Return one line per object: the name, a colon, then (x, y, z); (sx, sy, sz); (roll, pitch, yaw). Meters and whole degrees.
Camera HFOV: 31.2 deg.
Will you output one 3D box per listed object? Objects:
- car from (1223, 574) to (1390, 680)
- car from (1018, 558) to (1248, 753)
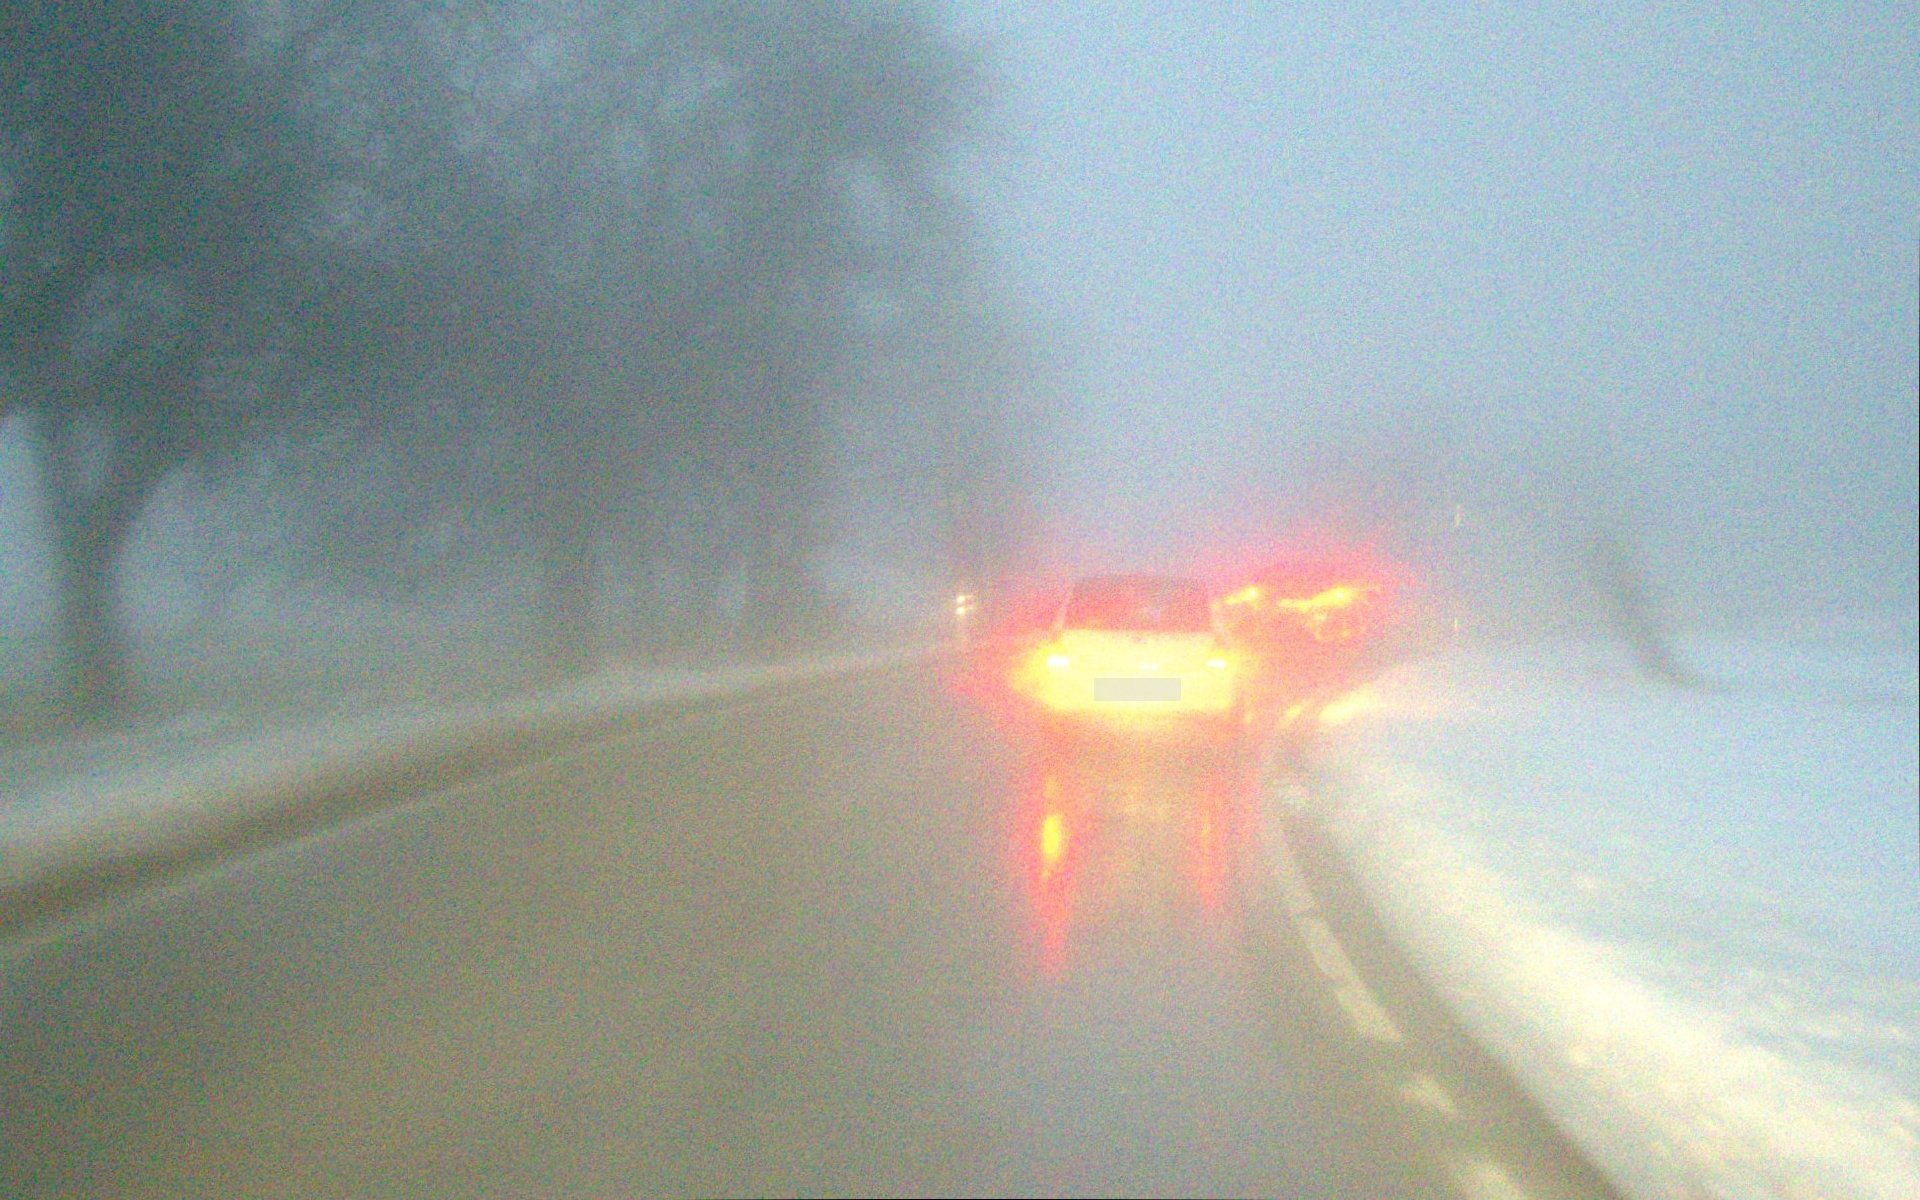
car: (5.162, 0.380, 51.012); (1.481, 1.503, 3.048); (0, 1, 27)
car: (1.374, 0.408, 28.678); (1.707, 1.458, 4.000); (1, 1, 0)
